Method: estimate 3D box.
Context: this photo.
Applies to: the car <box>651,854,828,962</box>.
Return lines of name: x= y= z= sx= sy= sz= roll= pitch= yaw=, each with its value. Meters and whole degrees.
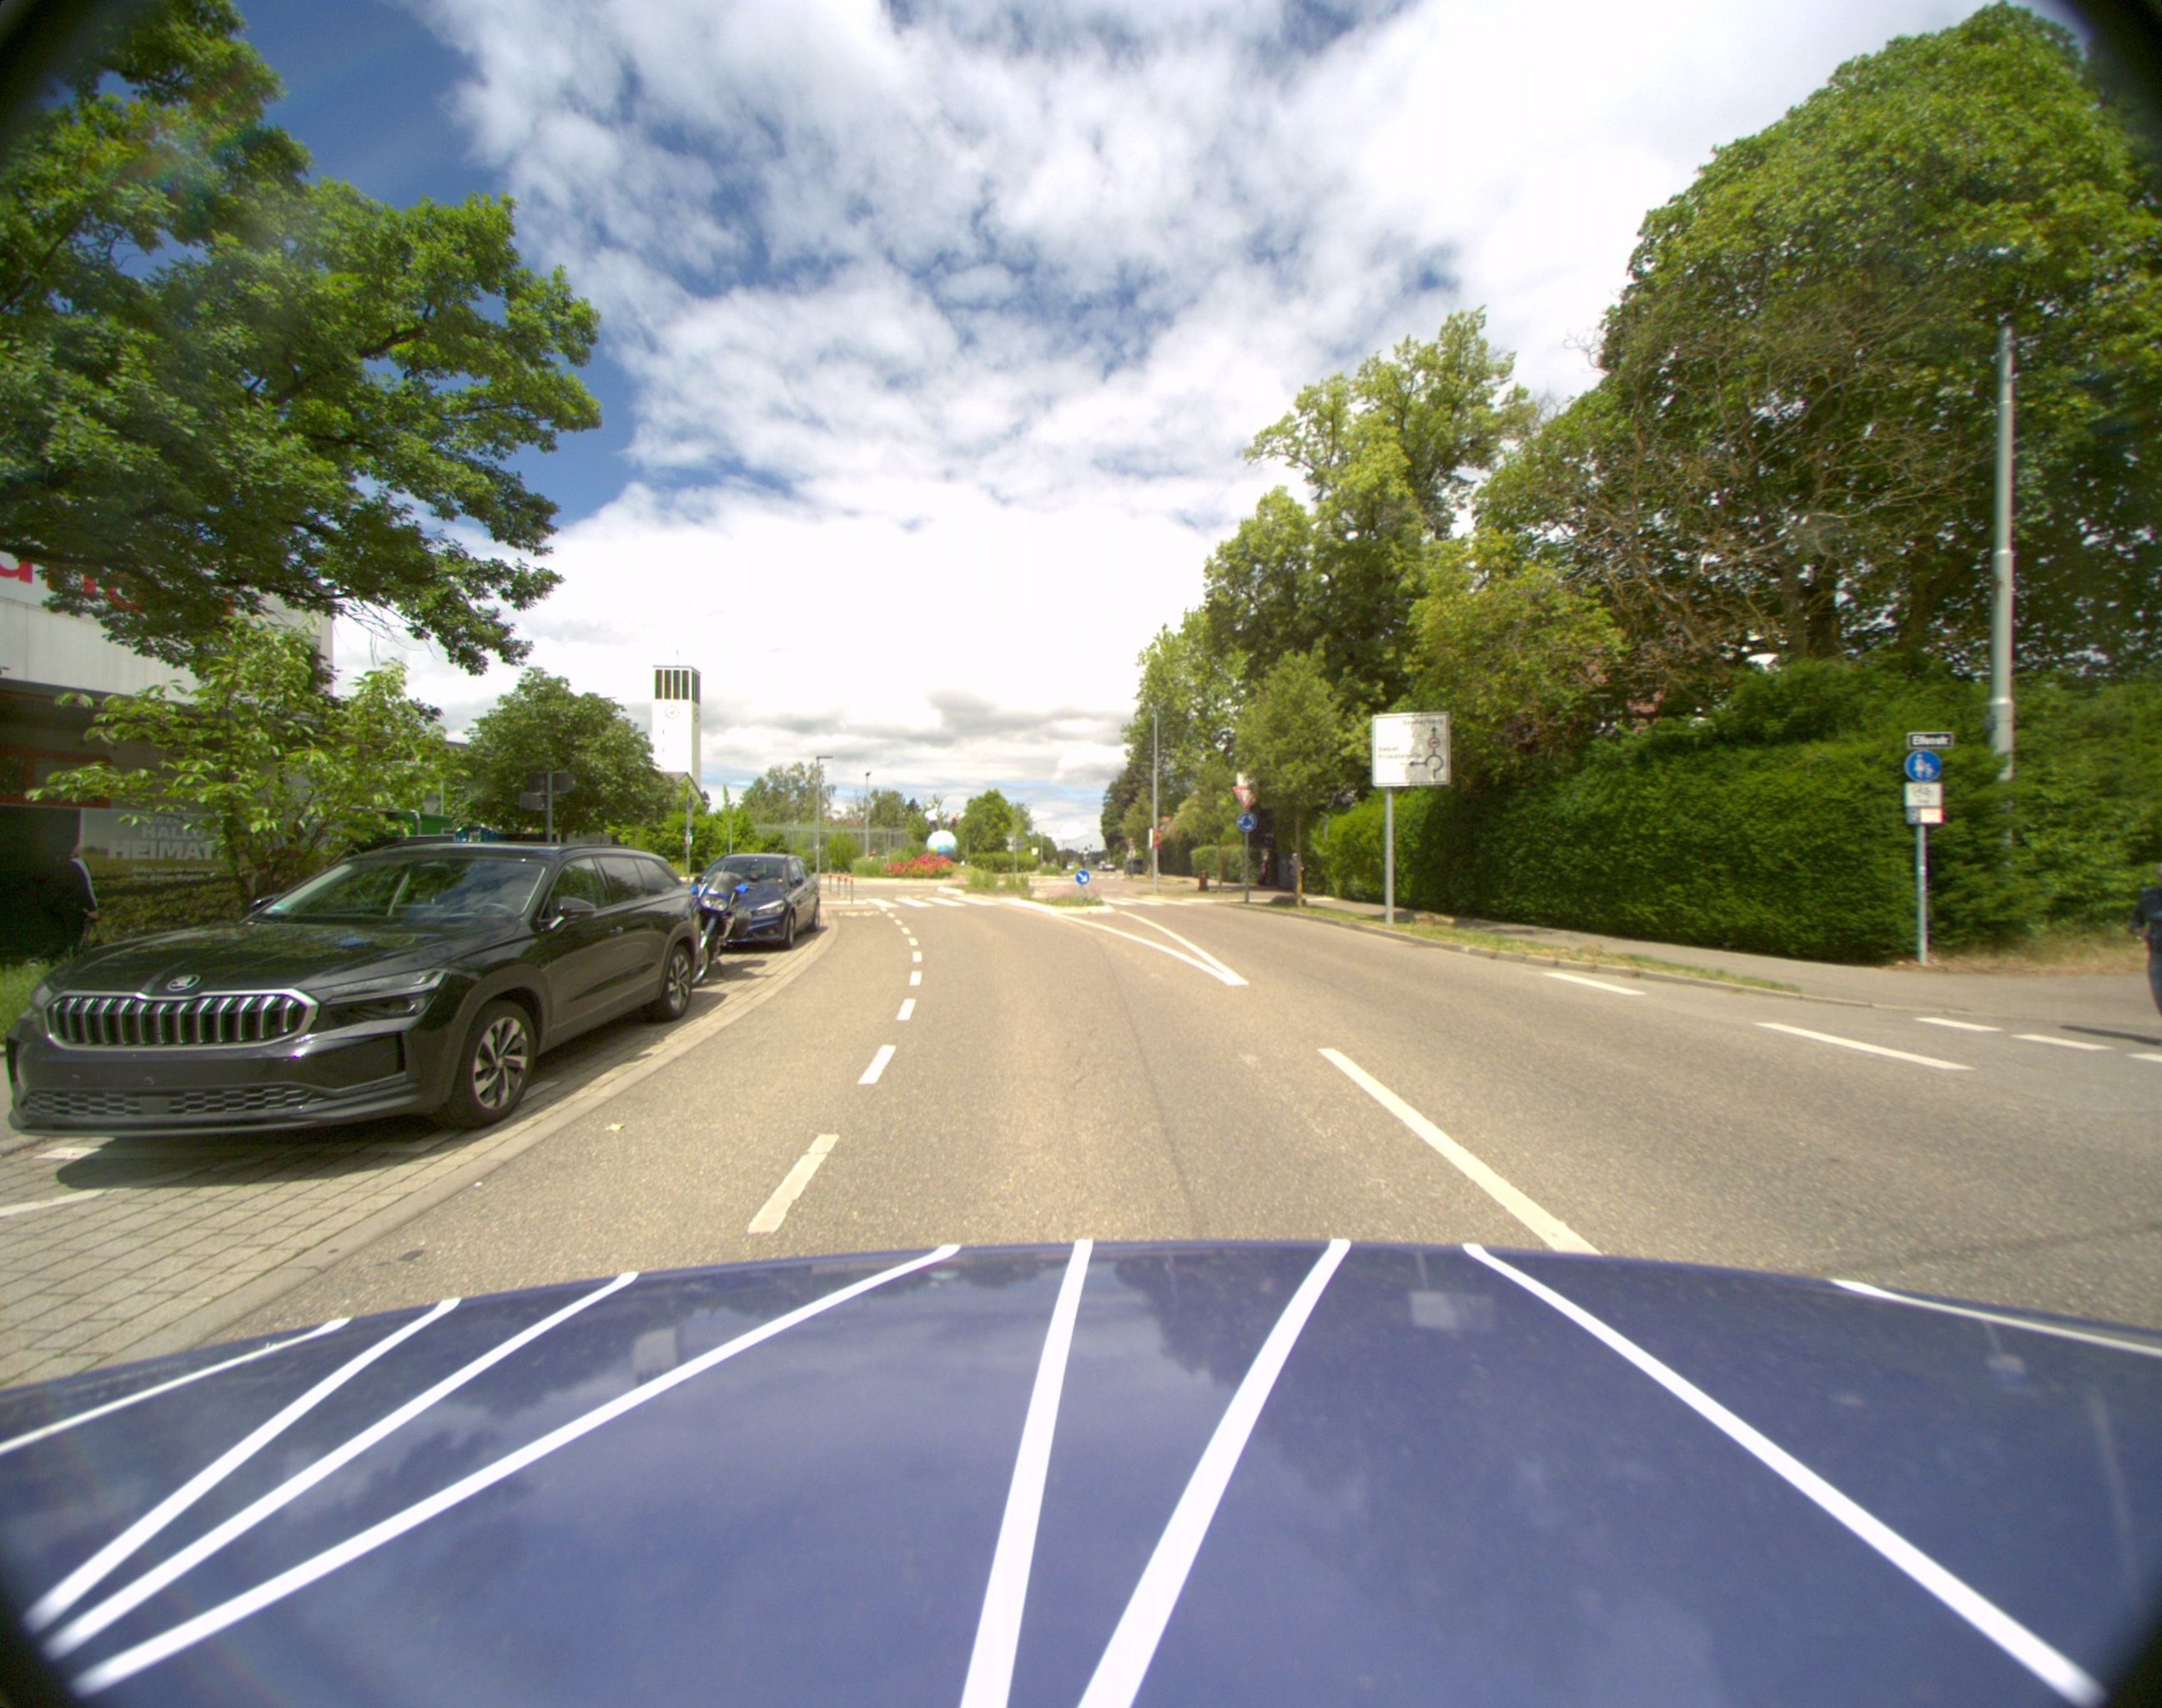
car: x=-5.885 y=0.825 z=13.695 sx=1.923 sy=1.569 sz=4.425 roll=1 pitch=0 yaw=-11

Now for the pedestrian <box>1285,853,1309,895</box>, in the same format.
pedestrian: x=8.721 y=0.803 z=30.704 sx=0.745 sy=1.681 sz=0.694 roll=-1 pitch=1 yaw=1

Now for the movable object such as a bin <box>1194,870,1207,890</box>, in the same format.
movable object such as a bin: x=5.580 y=1.203 z=35.398 sx=0.442 sy=0.929 sz=0.411 roll=1 pitch=0 yaw=-29

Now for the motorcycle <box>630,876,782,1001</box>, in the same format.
motorcycle: x=-4.576 y=0.975 z=9.521 sx=1.075 sy=1.298 sz=2.258 roll=2 pitch=0 yaw=-10

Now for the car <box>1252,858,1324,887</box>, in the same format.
car: x=11.686 y=1.024 z=42.989 sx=3.576 sy=1.389 sz=1.665 roll=3 pitch=1 yaw=0

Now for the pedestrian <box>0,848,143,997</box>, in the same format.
pedestrian: x=-11.520 y=0.741 z=8.627 sx=0.744 sy=1.608 sz=0.767 roll=-1 pitch=1 yaw=-1

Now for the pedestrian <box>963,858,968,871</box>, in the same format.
pedestrian: x=-14.630 y=1.329 z=96.247 sx=0.608 sy=1.687 sz=0.566 roll=0 pitch=0 yaw=-17

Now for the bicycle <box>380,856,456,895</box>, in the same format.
bicycle: x=-21.807 y=0.687 z=25.041 sx=1.776 sy=1.227 sz=0.713 roll=-1 pitch=1 yaw=-34

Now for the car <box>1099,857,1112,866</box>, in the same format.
car: x=4.788 y=1.497 z=147.270 sx=1.999 sy=1.696 sz=3.998 roll=1 pitch=0 yaw=-5

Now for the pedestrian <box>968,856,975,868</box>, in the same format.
pedestrian: x=-13.935 y=1.033 z=96.632 sx=0.765 sy=1.548 sz=0.601 roll=-2 pitch=1 yaw=-17

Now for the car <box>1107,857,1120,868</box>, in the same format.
car: x=4.896 y=1.255 z=116.151 sx=1.862 sy=1.568 sz=4.000 roll=-1 pitch=0 yaw=0

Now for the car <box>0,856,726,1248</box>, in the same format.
car: x=-4.434 y=0.856 z=5.671 sx=1.885 sy=1.612 sz=4.842 roll=1 pitch=0 yaw=-8

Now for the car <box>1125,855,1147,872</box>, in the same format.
car: x=5.566 y=0.943 z=77.064 sx=1.681 sy=1.652 sz=3.998 roll=0 pitch=0 yaw=-4

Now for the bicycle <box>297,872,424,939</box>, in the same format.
bicycle: x=-13.602 y=0.939 z=14.427 sx=0.450 sy=1.148 sz=1.792 roll=-1 pitch=1 yaw=11

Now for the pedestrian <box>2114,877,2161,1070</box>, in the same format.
pedestrian: x=8.938 y=0.960 z=6.173 sx=0.732 sy=1.500 sz=0.626 roll=-1 pitch=1 yaw=-35
